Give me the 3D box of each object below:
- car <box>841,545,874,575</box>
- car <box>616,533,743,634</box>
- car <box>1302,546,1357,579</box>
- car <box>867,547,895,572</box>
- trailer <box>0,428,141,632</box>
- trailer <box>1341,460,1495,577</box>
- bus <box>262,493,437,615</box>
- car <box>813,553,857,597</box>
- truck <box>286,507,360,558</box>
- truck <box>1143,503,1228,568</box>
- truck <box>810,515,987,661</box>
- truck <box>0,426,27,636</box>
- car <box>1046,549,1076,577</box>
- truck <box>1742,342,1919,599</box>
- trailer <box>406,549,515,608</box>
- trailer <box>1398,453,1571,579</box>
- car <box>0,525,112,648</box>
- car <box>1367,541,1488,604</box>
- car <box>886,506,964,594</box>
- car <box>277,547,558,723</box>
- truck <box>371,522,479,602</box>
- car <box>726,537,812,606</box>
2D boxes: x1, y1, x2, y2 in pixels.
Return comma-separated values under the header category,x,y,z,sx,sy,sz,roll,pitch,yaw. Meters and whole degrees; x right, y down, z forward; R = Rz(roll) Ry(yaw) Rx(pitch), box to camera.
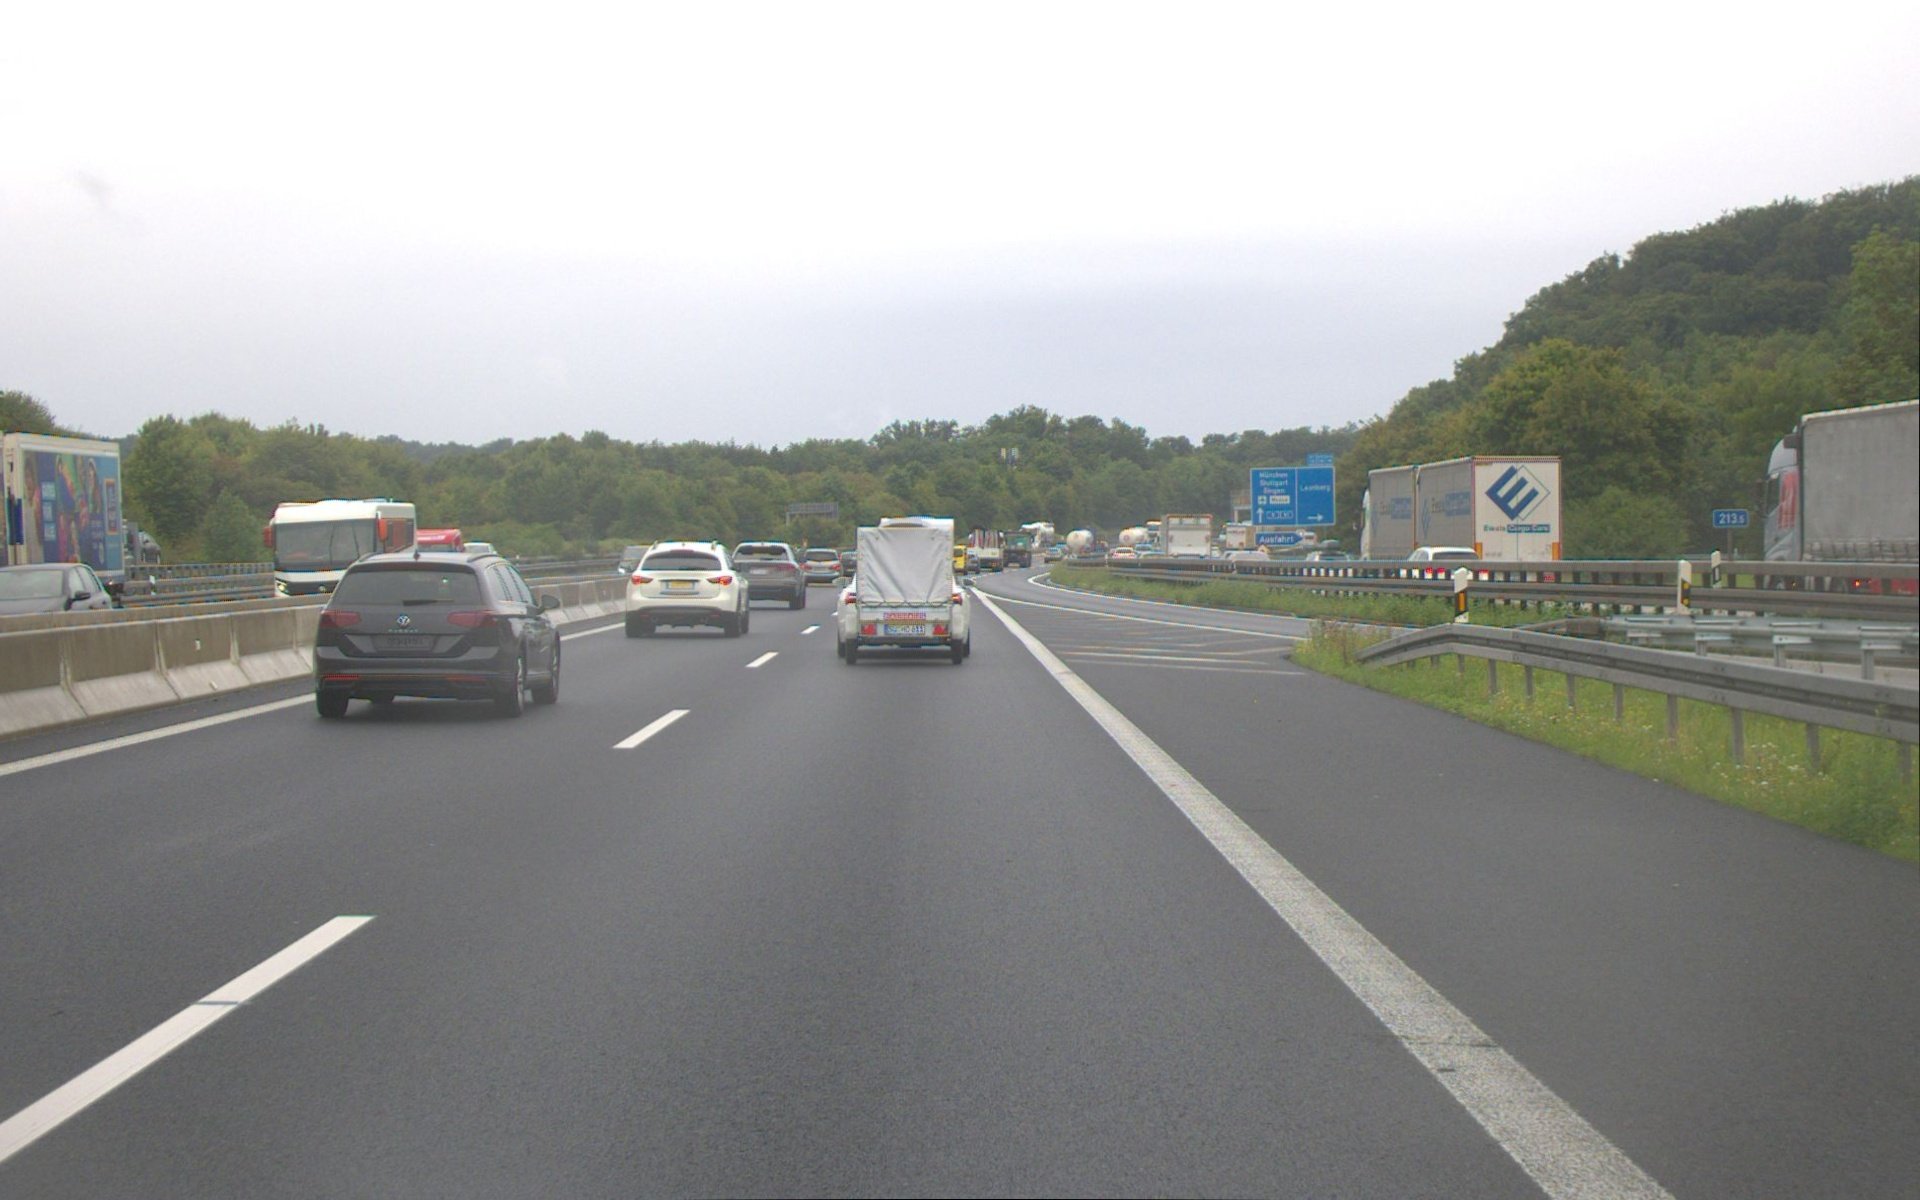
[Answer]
category,x,y,z,sx,sy,sz,roll,pitch,yaw
car,-5.490,-2.170,184.699,1.645,1.568,4.000,1,1,0
car,-4.932,-0.315,59.916,2.048,1.665,4.542,0,1,-7
car,14.724,-1.494,137.054,1.697,1.284,3.535,1,0,-1
car,-4.974,-2.571,217.500,1.645,1.568,4.000,1,1,0
trailer,-17.503,-1.281,63.208,2.942,3.504,8.052,1,1,0
trailer,14.514,-2.552,109.635,2.937,3.515,8.421,1,1,-6
bus,-13.686,-1.039,77.651,2.541,2.577,8.271,1,1,-1
car,-5.304,-1.080,146.016,1.738,1.787,4.000,1,1,-1
truck,-36.361,-3.847,196.459,2.739,2.863,8.542,-1,1,-1
truck,13.153,-3.754,201.444,3.824,3.646,8.273,1,1,-4
truck,-0.808,-0.189,47.318,2.242,1.833,6.585,1,1,0
truck,-17.496,-1.130,53.902,2.808,3.512,10.642,1,1,0
car,5.902,-2.173,201.204,1.645,1.568,4.000,1,1,0
truck,18.645,-2.307,62.314,3.820,4.525,16.888,0,1,-5
trailer,-17.869,-0.814,123.585,2.536,2.007,10.245,-1,1,-1
trailer,15.366,-2.433,101.350,3.077,3.515,8.086,1,1,-6
car,-13.245,-0.227,47.643,1.993,1.612,4.000,1,1,0
car,12.300,-0.729,90.766,1.993,1.611,5.080,0,1,-6
car,-1.152,-1.592,109.433,2.331,2.716,6.540,0,1,-2
car,-4.811,0.256,31.104,1.787,1.454,4.802,1,1,0
truck,-17.821,-1.267,114.886,2.426,2.585,7.093,0,1,1
car,-4.884,-0.749,88.316,1.975,1.697,4.803,1,1,-1
